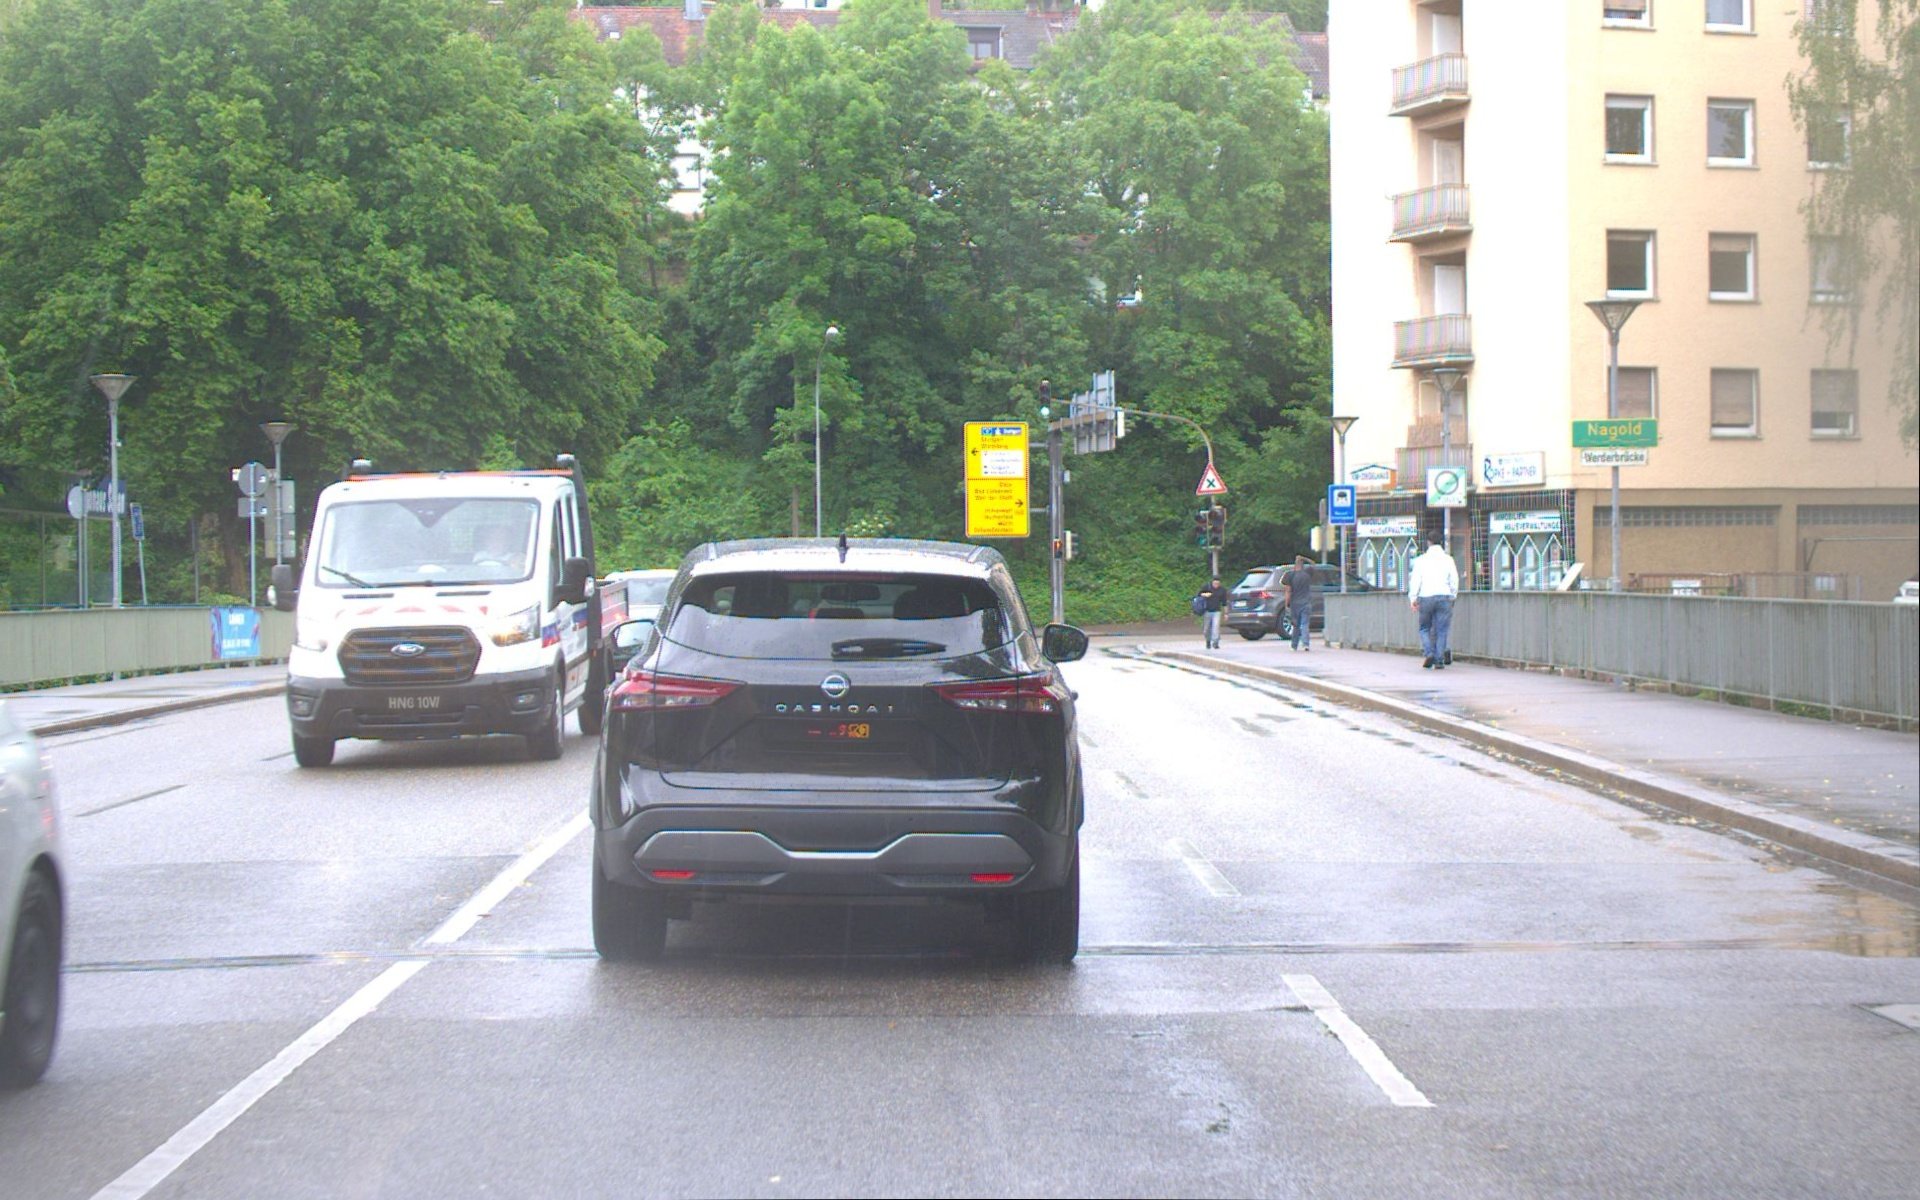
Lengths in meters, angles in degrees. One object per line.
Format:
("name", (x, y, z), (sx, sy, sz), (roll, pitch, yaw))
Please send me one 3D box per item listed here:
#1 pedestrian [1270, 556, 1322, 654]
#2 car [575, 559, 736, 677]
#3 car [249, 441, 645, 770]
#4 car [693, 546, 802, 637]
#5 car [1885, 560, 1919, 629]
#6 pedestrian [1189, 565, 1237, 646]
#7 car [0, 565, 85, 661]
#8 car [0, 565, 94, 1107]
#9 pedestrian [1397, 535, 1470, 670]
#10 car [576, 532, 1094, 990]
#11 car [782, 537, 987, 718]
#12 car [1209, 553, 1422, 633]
("pedestrian", (5.909, 0.082, 60.506), (0.761, 1.671, 0.781), (-2, 1, 0))
("car", (-3.922, 0.201, 44.817), (1.745, 1.434, 4.000), (-1, 1, 0))
("car", (-3.987, -0.029, 27.972), (2.289, 2.301, 6.510), (-2, 1, -1))
("car", (-4.232, -0.188, 68.943), (1.888, 1.729, 4.371), (-2, 1, 0))
("car", (21.884, -0.150, 72.247), (4.438, 1.371, 1.818), (-1, 3, -17))
("pedestrian", (5.170, 0.113, 70.281), (0.862, 1.613, 0.839), (-2, 0, 0))
("car", (-20.163, 0.261, 69.274), (4.741, 1.848, 2.001), (0, 2, -9))
("car", (-3.517, 0.700, 8.372), (1.781, 1.469, 4.167), (-2, 1, -1))
("pedestrian", (6.241, 0.034, 45.315), (0.779, 1.746, 1.061), (-1, 0, -1))
("car", (-0.465, 0.540, 14.118), (1.811, 1.597, 4.000), (1, 1, -1))
("car", (-0.700, 0.219, 32.807), (1.811, 1.597, 4.000), (1, 1, -1))
("car", (7.986, -0.157, 77.109), (4.366, 1.643, 1.884), (-2, 0, -26))
